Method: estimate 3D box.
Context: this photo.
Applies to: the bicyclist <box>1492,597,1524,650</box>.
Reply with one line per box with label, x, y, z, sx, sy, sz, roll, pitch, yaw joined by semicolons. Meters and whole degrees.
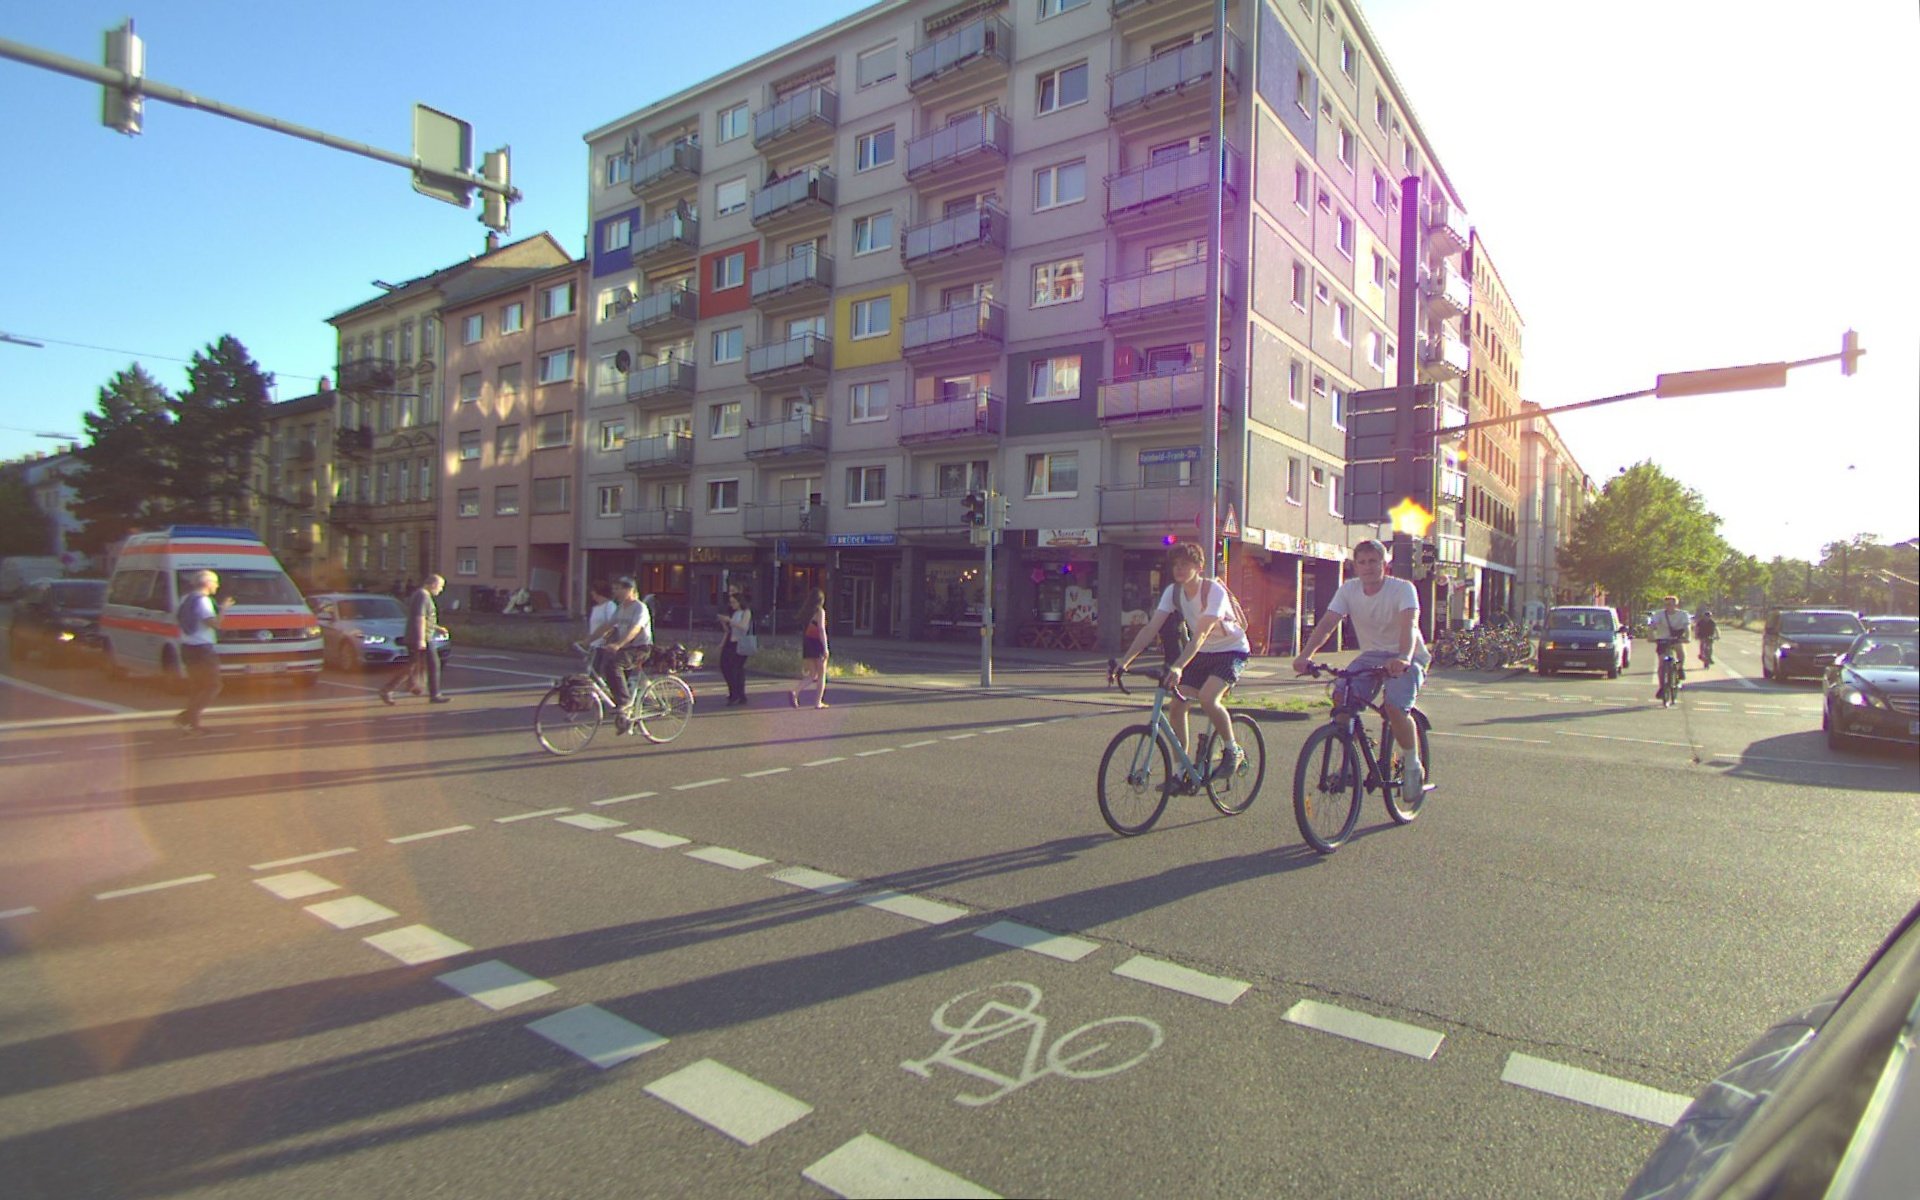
bicyclist;19.672;0.826;36.317;0.740;1.830;1.366;1;0;39

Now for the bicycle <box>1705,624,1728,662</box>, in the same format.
bicycle;24.490;1.385;32.762;0.528;1.174;1.823;0;-1;39

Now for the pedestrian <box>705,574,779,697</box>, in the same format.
pedestrian;-3.103;0.480;14.403;0.680;1.683;0.736;1;0;38

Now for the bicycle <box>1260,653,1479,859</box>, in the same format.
bicycle;2.603;0.884;6.309;1.947;1.041;0.479;1;-1;-43

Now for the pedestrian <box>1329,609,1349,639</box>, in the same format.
pedestrian;14.333;0.893;38.276;0.638;1.113;0.542;1;0;15

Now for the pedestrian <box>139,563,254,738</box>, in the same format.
pedestrian;-7.871;0.492;10.450;0.567;1.723;0.801;1;0;38

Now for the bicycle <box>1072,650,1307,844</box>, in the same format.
bicycle;1.551;0.882;6.626;1.825;1.041;0.576;1;-1;-43

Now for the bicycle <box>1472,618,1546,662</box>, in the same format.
bicycle;16.608;1.191;30.633;1.861;1.139;0.561;4;2;34

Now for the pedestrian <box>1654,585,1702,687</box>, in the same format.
pedestrian;12.185;0.598;17.182;0.636;1.670;0.832;0;-1;36

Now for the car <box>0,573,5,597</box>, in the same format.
car;-66.012;-1.068;68.039;3.822;1.616;1.852;1;0;35

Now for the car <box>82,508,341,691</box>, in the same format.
car;-12.090;-0.046;16.204;5.236;2.514;1.900;1;0;37

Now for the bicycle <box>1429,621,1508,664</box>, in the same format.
bicycle;14.011;1.154;27.897;1.861;1.074;0.599;1;0;35

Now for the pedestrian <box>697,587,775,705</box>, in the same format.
pedestrian;-3.003;0.597;13.570;0.680;1.519;0.736;1;0;38

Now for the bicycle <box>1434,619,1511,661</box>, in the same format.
bicycle;14.381;1.110;28.409;1.861;1.074;0.599;1;0;35

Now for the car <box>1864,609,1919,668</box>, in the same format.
car;30.658;1.178;32.380;1.944;1.734;4.790;-2;-1;35

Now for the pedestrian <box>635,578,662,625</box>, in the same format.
pedestrian;-12.100;0.052;39.273;0.725;1.798;0.700;1;0;44

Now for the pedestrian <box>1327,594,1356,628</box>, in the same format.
pedestrian;14.728;0.431;39.046;0.633;1.290;0.862;1;0;-16

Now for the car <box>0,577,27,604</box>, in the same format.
car;-61.191;-0.629;64.417;3.822;1.616;1.852;1;0;35

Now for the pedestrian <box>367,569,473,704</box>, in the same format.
pedestrian;-7.252;0.468;13.610;0.781;1.723;1.013;1;0;38

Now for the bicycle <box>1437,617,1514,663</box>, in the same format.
bicycle;14.718;1.116;28.916;1.861;1.139;0.600;4;2;33

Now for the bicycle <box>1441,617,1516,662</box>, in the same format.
bicycle;15.045;1.140;29.389;1.861;1.139;0.561;4;2;34

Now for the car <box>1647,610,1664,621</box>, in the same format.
car;95.116;2.114;138.348;1.765;1.501;4.253;1;0;36

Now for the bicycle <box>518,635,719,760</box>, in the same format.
bicycle;-3.237;0.886;9.740;0.520;0.993;1.821;1;2;43

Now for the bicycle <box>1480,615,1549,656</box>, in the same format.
bicycle;17.819;1.129;32.558;1.861;1.139;0.561;4;2;34

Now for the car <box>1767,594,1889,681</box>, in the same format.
car;22.573;0.893;26.491;1.909;2.015;4.884;1;0;35

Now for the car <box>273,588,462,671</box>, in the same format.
car;-11.489;0.489;19.531;3.977;1.393;1.782;2;1;37

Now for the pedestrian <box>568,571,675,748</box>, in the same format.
pedestrian;-3.249;0.526;9.722;0.675;1.609;0.750;1;2;43

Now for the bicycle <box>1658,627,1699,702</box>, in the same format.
bicycle;12.263;1.065;17.255;0.527;1.174;1.824;0;-1;37

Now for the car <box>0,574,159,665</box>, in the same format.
car;-17.404;0.317;19.874;4.060;1.591;1.576;1;0;36

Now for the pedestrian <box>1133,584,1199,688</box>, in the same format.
pedestrian;3.554;0.605;17.448;0.661;1.726;1.055;1;0;41

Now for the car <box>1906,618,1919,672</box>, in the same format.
car;26.034;1.177;26.113;1.832;1.419;4.523;-2;-1;37

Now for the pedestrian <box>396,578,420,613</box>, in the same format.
pedestrian;-25.809;-0.221;47.315;0.723;1.596;0.702;1;0;34

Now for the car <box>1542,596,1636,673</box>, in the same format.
car;17.824;0.904;28.592;1.931;1.957;4.769;1;0;36

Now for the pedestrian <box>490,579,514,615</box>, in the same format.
pedestrian;-20.581;-0.145;45.480;0.723;1.596;0.702;1;0;36

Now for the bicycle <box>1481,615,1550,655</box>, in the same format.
bicycle;18.124;1.135;33.036;1.861;1.139;0.561;4;2;34

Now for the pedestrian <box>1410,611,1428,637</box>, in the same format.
pedestrian;20.652;1.070;45.487;0.603;1.166;0.718;1;0;36

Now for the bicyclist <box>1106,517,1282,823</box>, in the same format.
bicyclist;1.539;0.416;6.622;0.977;1.830;0.675;1;0;-43

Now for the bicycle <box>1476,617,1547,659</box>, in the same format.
bicycle;17.213;1.171;31.601;1.861;1.139;0.561;4;2;34

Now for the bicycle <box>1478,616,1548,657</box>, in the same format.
bicycle;17.519;1.147;32.077;1.861;1.139;0.561;4;2;34

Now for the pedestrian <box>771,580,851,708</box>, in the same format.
pedestrian;-1.945;0.554;13.222;0.681;1.609;0.735;1;0;41

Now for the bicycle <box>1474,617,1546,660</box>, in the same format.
bicycle;16.911;1.174;31.125;1.861;1.139;0.561;4;2;34

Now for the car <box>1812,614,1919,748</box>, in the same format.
car;11.265;0.863;11.769;1.767;1.324;4.185;1;0;36

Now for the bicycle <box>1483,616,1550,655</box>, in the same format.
bicycle;18.432;1.159;33.513;1.861;1.139;0.561;4;2;34

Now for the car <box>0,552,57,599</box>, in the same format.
car;-56.463;-1.478;60.960;4.518;2.755;2.064;1;0;35

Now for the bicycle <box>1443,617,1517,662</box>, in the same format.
bicycle;15.338;1.143;29.879;1.861;1.139;0.561;4;2;34

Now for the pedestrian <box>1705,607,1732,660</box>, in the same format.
pedestrian;24.522;1.066;32.716;0.676;1.670;0.889;-1;-1;40

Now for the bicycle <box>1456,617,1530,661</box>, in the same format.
bicycle;15.933;1.146;30.284;1.861;1.139;0.561;4;2;34

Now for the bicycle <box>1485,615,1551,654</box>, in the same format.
bicycle;18.733;1.149;33.999;1.861;1.139;0.561;4;2;34

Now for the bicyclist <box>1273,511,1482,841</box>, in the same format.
bicyclist;2.597;0.418;6.284;1.039;1.830;0.827;1;0;-43

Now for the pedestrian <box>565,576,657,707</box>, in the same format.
pedestrian;-4.693;0.539;13.624;0.726;1.683;0.893;1;0;38

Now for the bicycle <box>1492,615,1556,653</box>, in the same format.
bicycle;19.498;1.161;35.016;1.861;1.139;0.561;4;2;34

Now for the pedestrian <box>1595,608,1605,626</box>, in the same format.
pedestrian;54.779;1.460;86.635;0.724;1.458;0.912;0;0;35

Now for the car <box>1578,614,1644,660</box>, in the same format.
car;22.448;1.229;34.846;1.678;1.499;3.493;-1;-1;36
